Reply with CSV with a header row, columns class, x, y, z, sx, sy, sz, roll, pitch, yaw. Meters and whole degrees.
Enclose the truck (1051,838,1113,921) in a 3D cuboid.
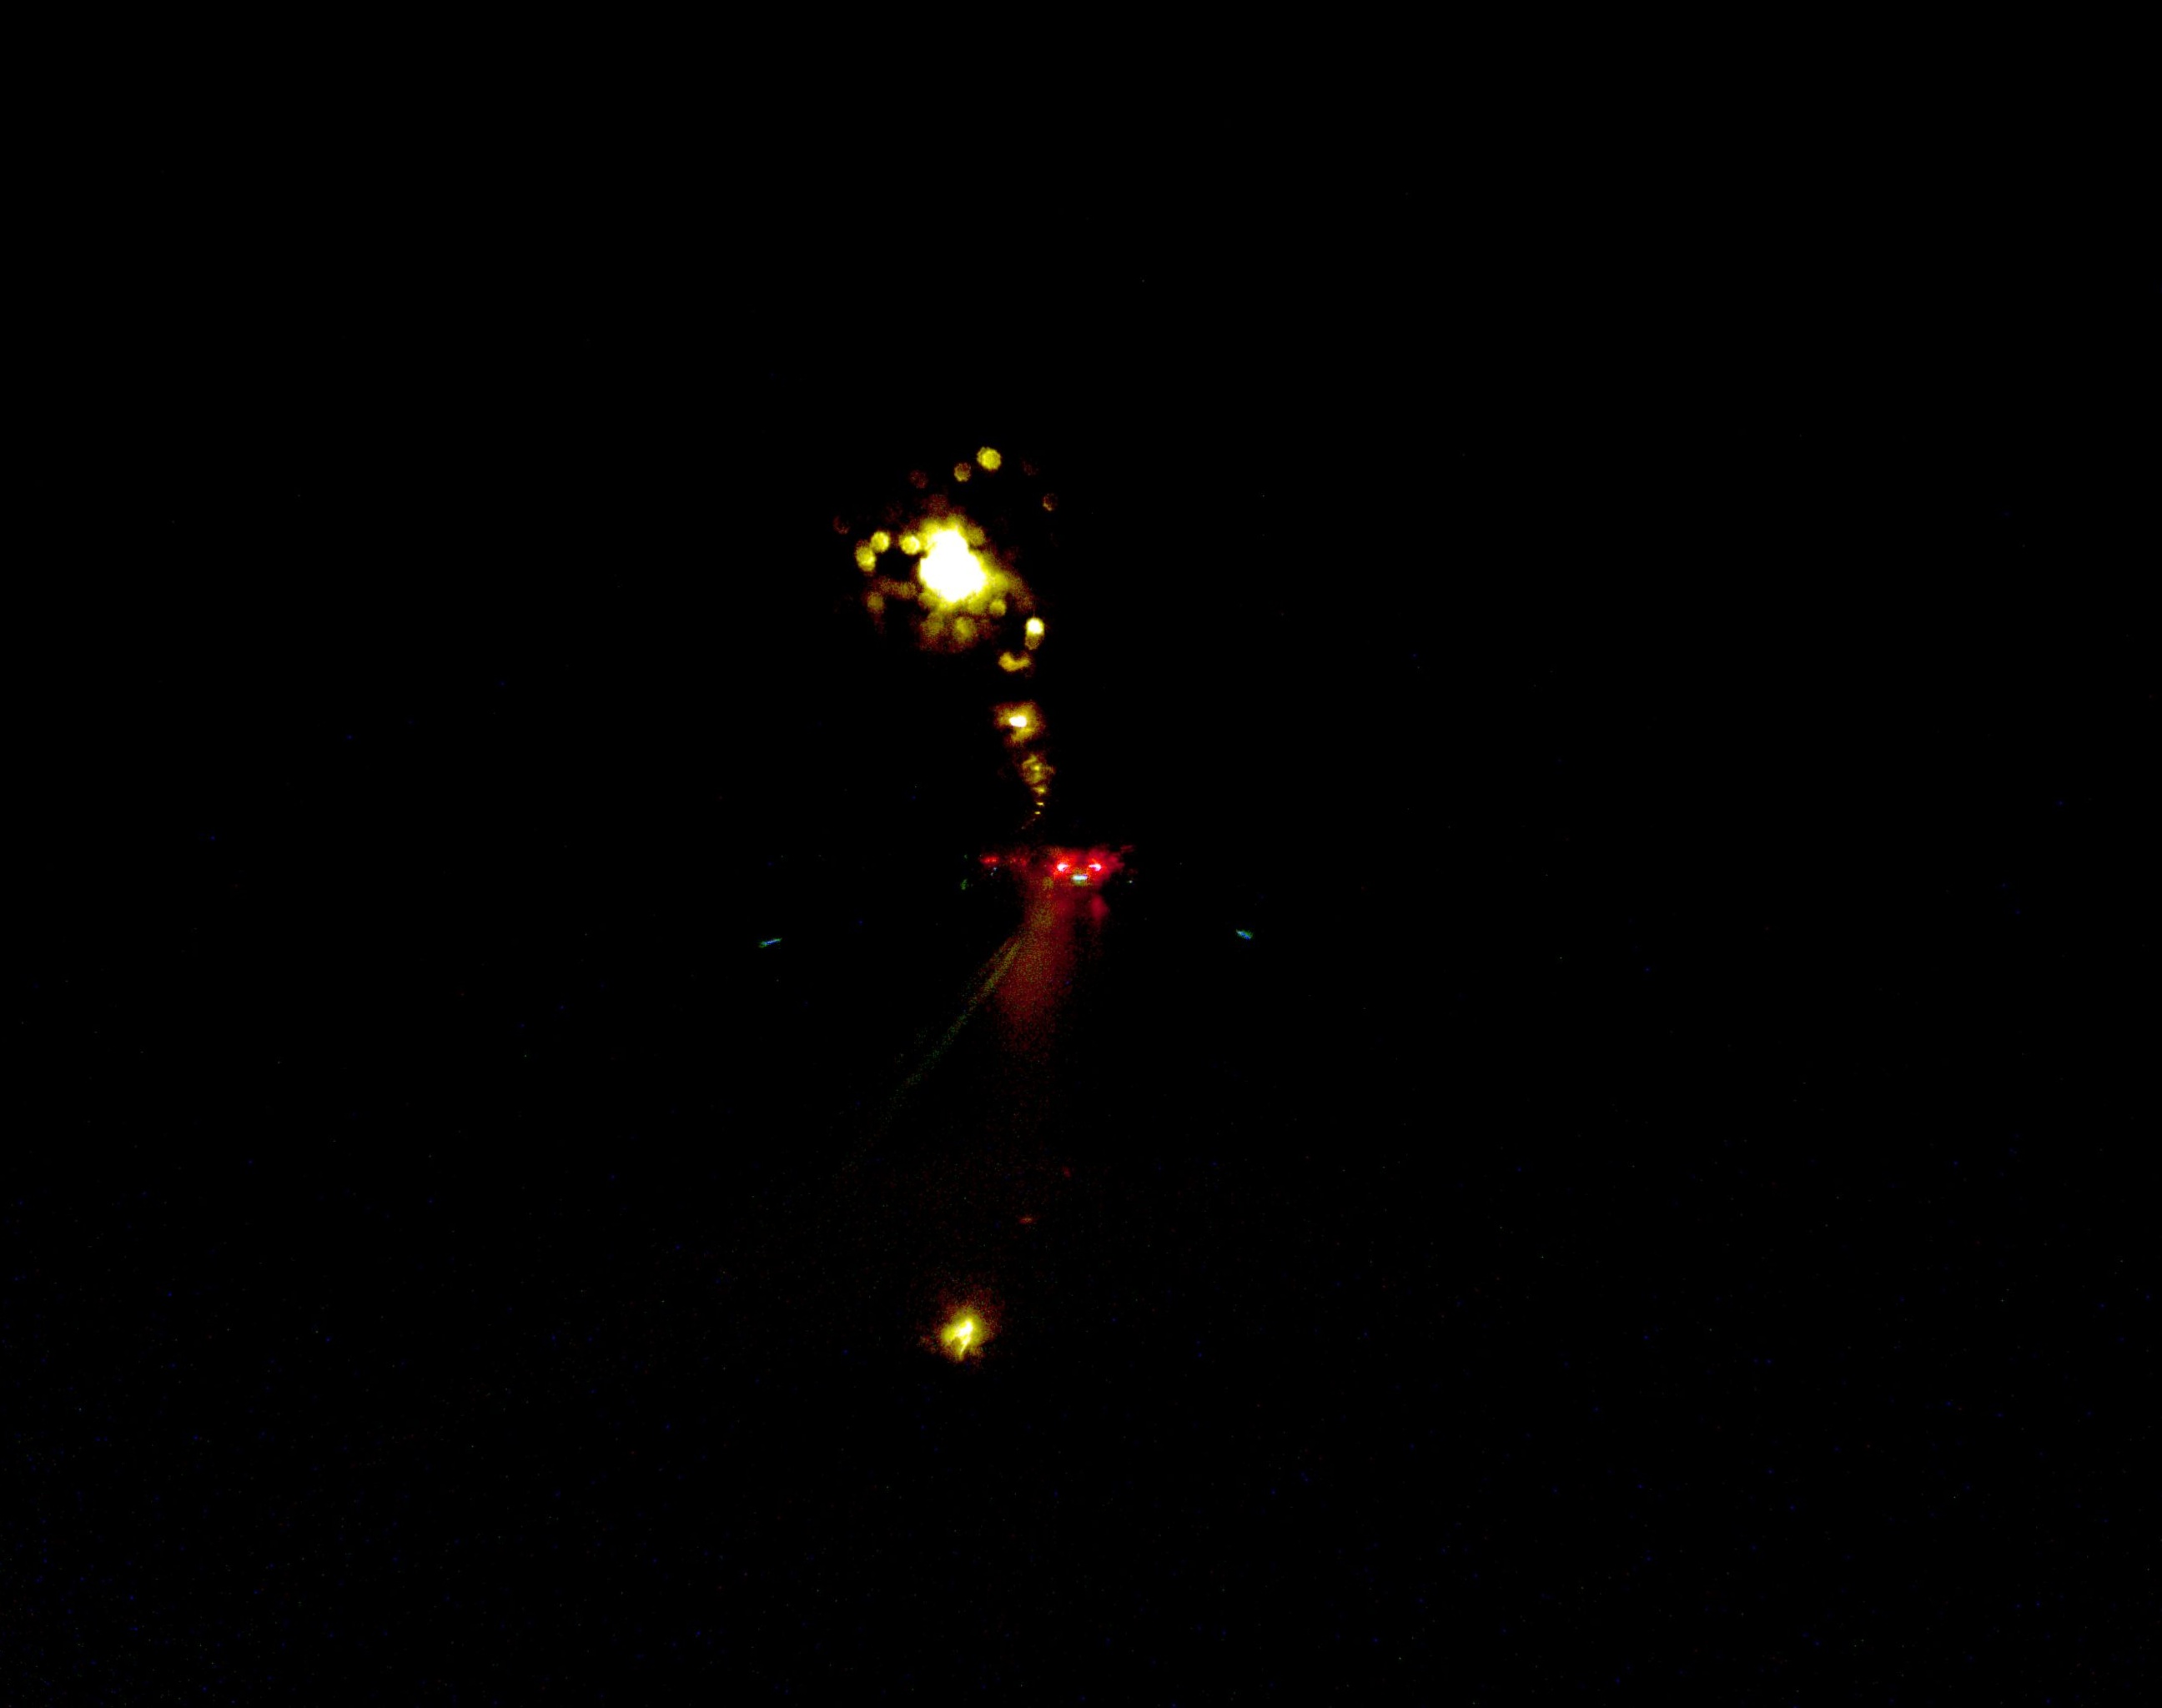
class,x,y,z,sx,sy,sz,roll,pitch,yaw
truck,0.064,0.931,33.518,2.254,3.011,7.415,0,0,0
